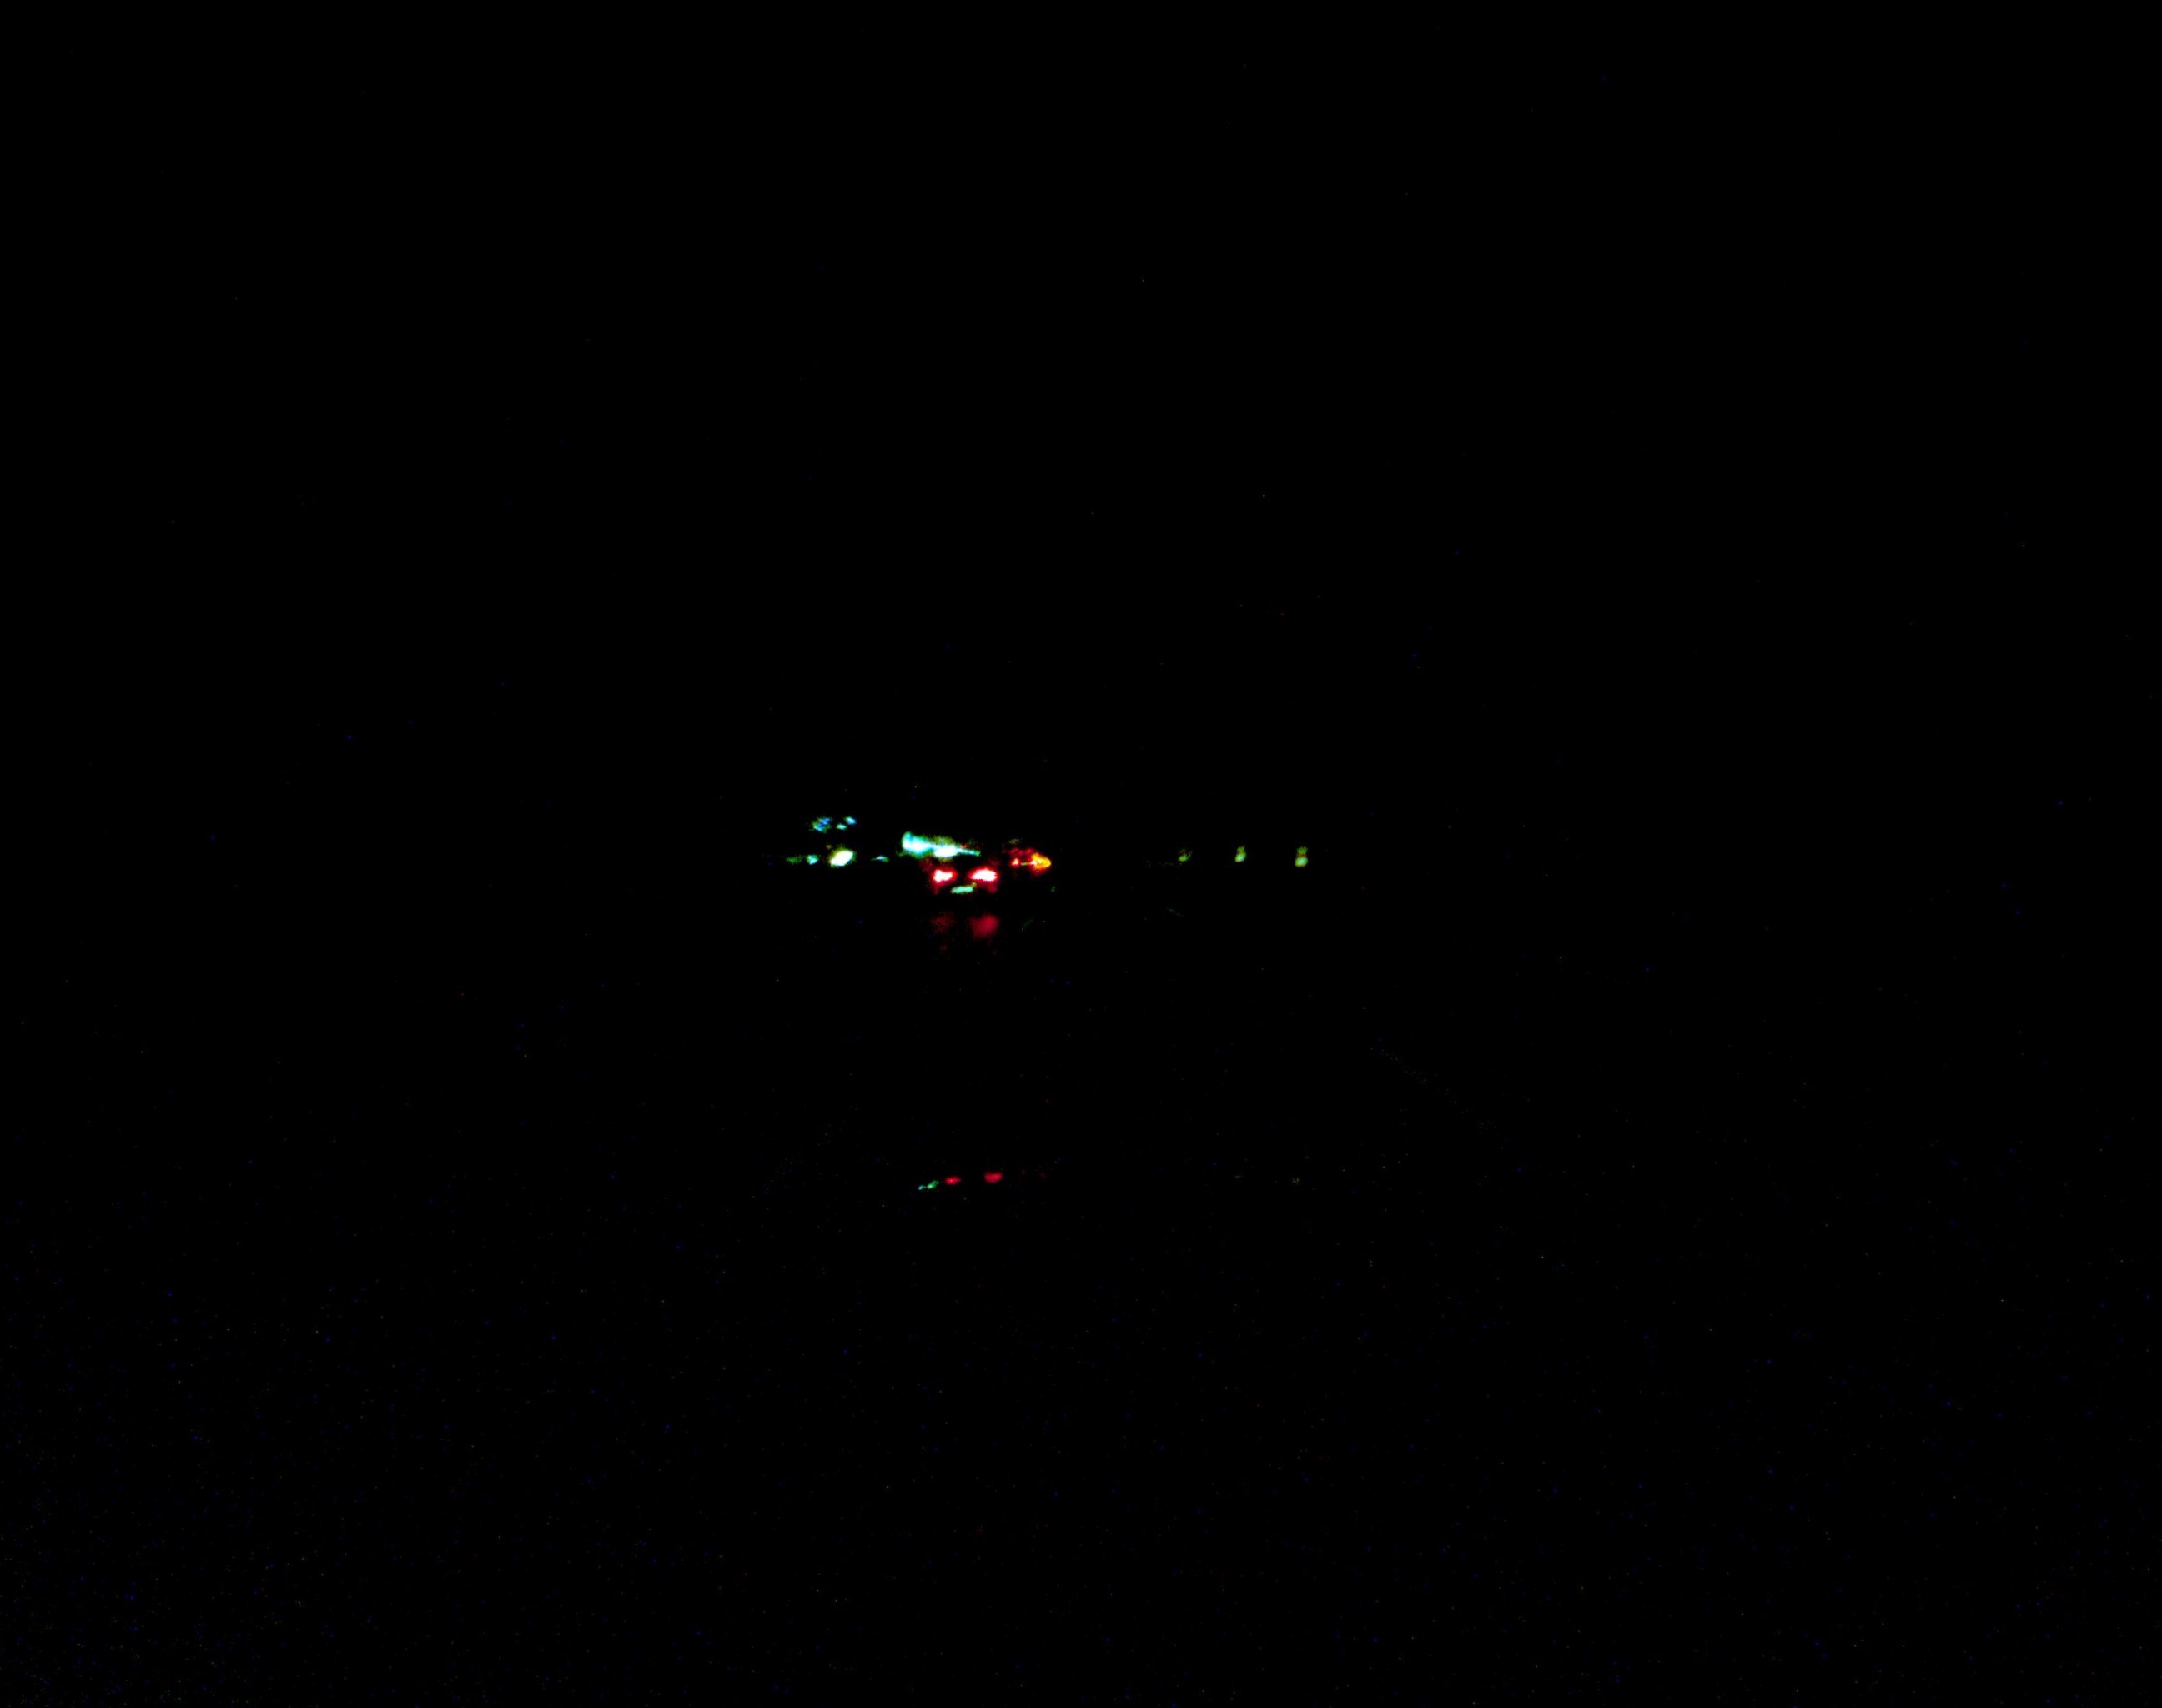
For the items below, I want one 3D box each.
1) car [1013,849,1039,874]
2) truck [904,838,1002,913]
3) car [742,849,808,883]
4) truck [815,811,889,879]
[{"bbox_3d":[-4.959,0.618,73.740,1.988,2.013,3.999,3,2,-1],"label":"car"},{"bbox_3d":[-3.951,0.601,26.403,2.138,2.077,6.602,-1,0,0],"label":"truck"},{"bbox_3d":[-16.697,0.670,44.622,1.987,1.599,3.998,4,-1,0],"label":"car"},{"bbox_3d":[-19.801,-0.861,71.252,2.516,5.311,11.797,3,2,2],"label":"truck"}]
